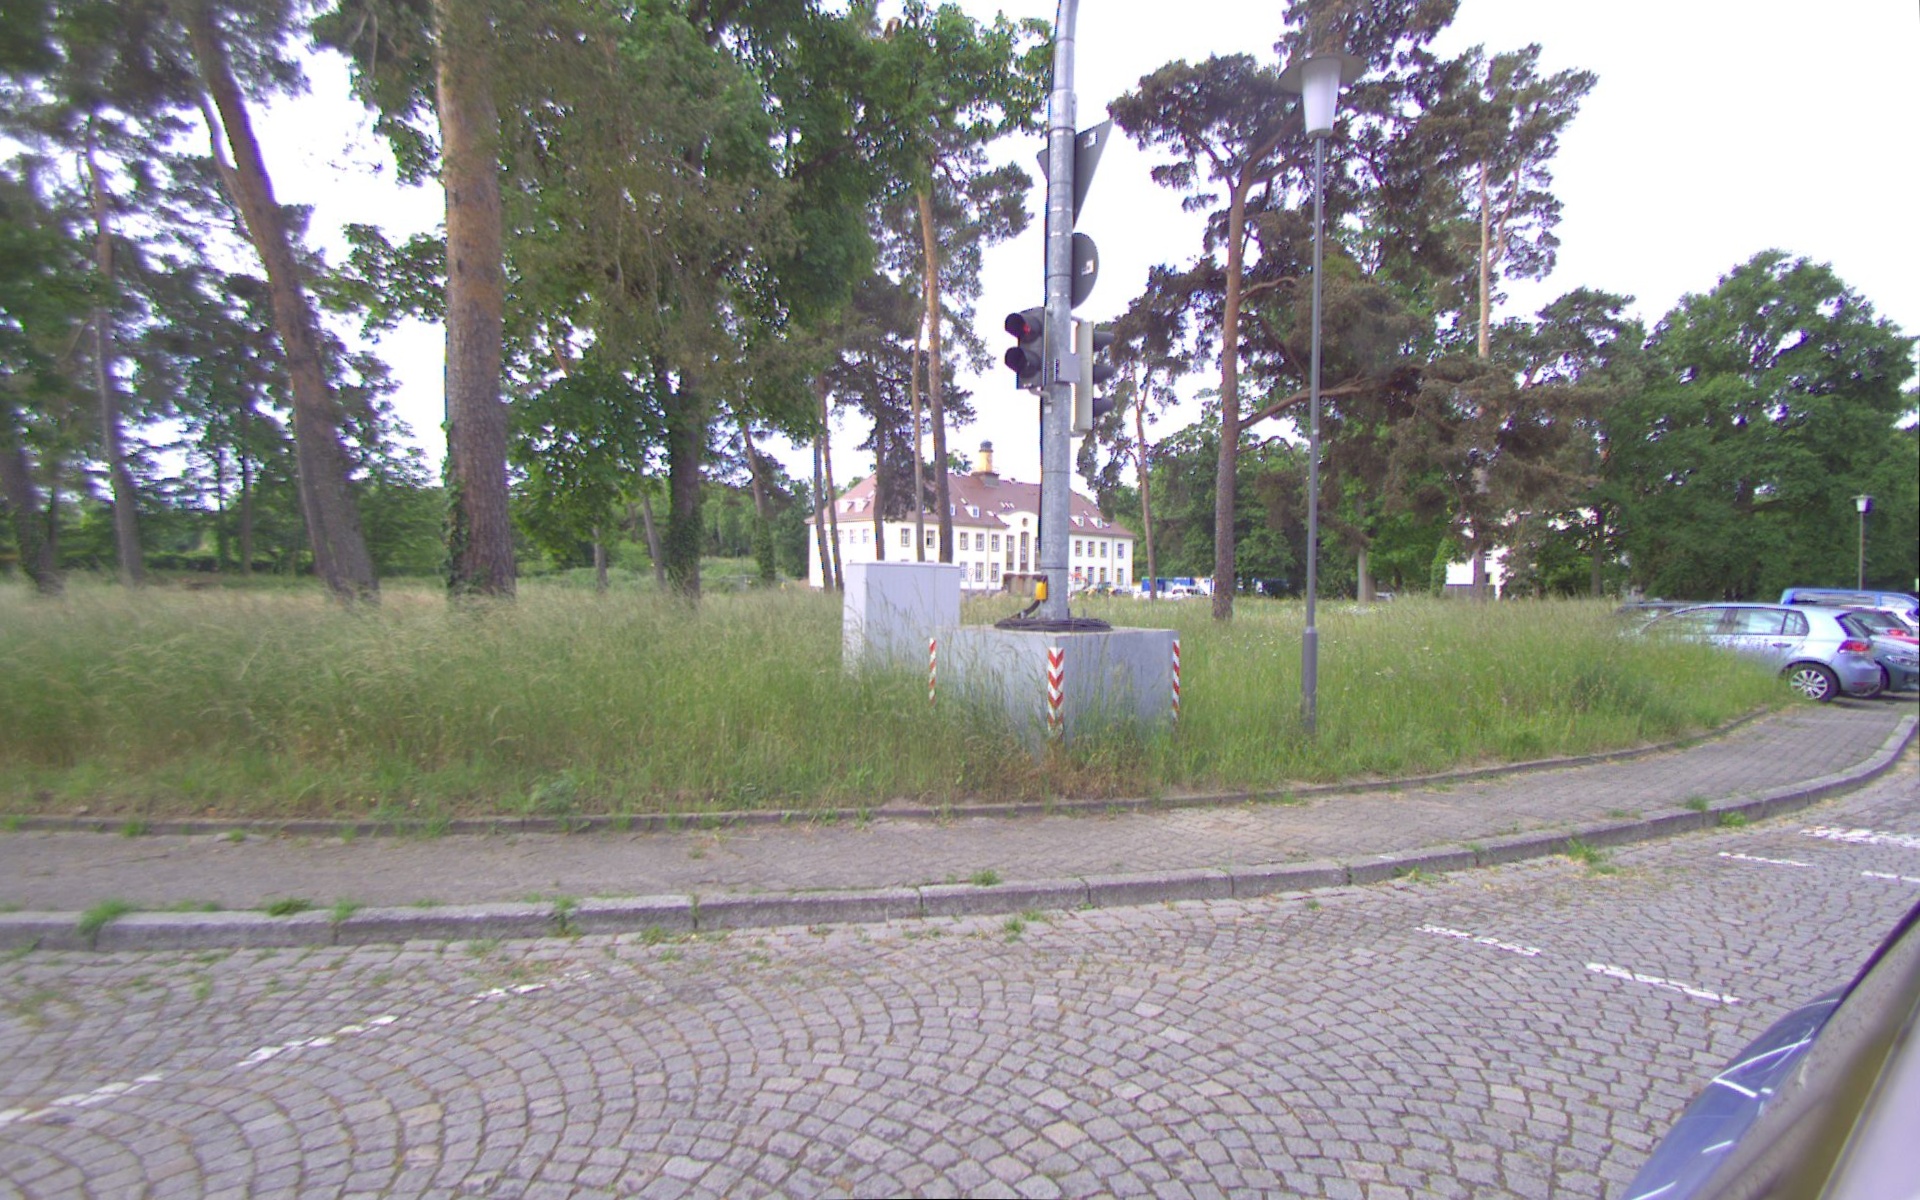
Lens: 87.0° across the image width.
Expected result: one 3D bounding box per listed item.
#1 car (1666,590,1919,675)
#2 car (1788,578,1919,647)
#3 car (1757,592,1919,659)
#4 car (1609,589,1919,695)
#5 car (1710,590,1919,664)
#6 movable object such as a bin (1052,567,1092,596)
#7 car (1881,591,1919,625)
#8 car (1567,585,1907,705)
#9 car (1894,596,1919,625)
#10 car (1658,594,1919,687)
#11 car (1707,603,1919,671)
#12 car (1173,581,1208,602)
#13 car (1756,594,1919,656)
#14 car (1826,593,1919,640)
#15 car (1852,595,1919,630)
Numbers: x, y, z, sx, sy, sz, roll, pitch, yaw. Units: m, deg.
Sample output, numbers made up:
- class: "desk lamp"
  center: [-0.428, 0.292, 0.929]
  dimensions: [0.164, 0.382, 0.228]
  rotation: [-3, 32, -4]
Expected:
- class: "car"
  center: [17.670, 0.615, 21.407]
  dimensions: [1.688, 1.500, 4.180]
  rotation: [0, 2, -42]
- class: "car"
  center: [29.338, 0.378, 31.981]
  dimensions: [1.878, 2.030, 4.600]
  rotation: [0, 2, -40]
- class: "car"
  center: [23.456, 0.647, 26.263]
  dimensions: [1.670, 1.535, 4.097]
  rotation: [1, 2, -40]
- class: "car"
  center: [14.135, 0.645, 17.662]
  dimensions: [1.636, 1.400, 4.434]
  rotation: [0, 4, -44]
- class: "car"
  center: [21.053, 0.602, 24.780]
  dimensions: [1.572, 1.535, 4.050]
  rotation: [1, 2, -40]
- class: "movable object such as a bin"
  center: [14.733, -2.434, 133.890]
  dimensions: [2.016, 3.817, 5.458]
  rotation: [0, 0, -39]
- class: "car"
  center: [50.343, 0.462, 52.082]
  dimensions: [1.693, 1.716, 4.088]
  rotation: [1, 2, -35]
- class: "car"
  center: [12.145, 0.601, 16.012]
  dimensions: [1.670, 1.446, 4.006]
  rotation: [0, 4, -44]
- class: "car"
  center: [53.826, 0.655, 55.101]
  dimensions: [1.693, 1.552, 4.098]
  rotation: [1, 2, -35]
- class: "car"
  center: [16.168, 0.701, 19.436]
  dimensions: [1.687, 1.492, 4.246]
  rotation: [0, 2, -40]
- class: "car"
  center: [19.406, 0.782, 22.689]
  dimensions: [1.523, 1.255, 4.047]
  rotation: [0, 2, -42]
- class: "car"
  center: [26.748, -0.994, 117.387]
  dimensions: [4.372, 2.394, 1.859]
  rotation: [-1, 0, -43]
- class: "car"
  center: [25.220, 0.667, 28.594]
  dimensions: [1.572, 1.535, 4.050]
  rotation: [1, 2, -40]
- class: "car"
  center: [35.518, 0.637, 38.189]
  dimensions: [1.625, 1.613, 4.083]
  rotation: [1, 2, -40]
- class: "car"
  center: [42.777, 0.577, 45.281]
  dimensions: [1.696, 1.462, 4.082]
  rotation: [0, 2, -41]
